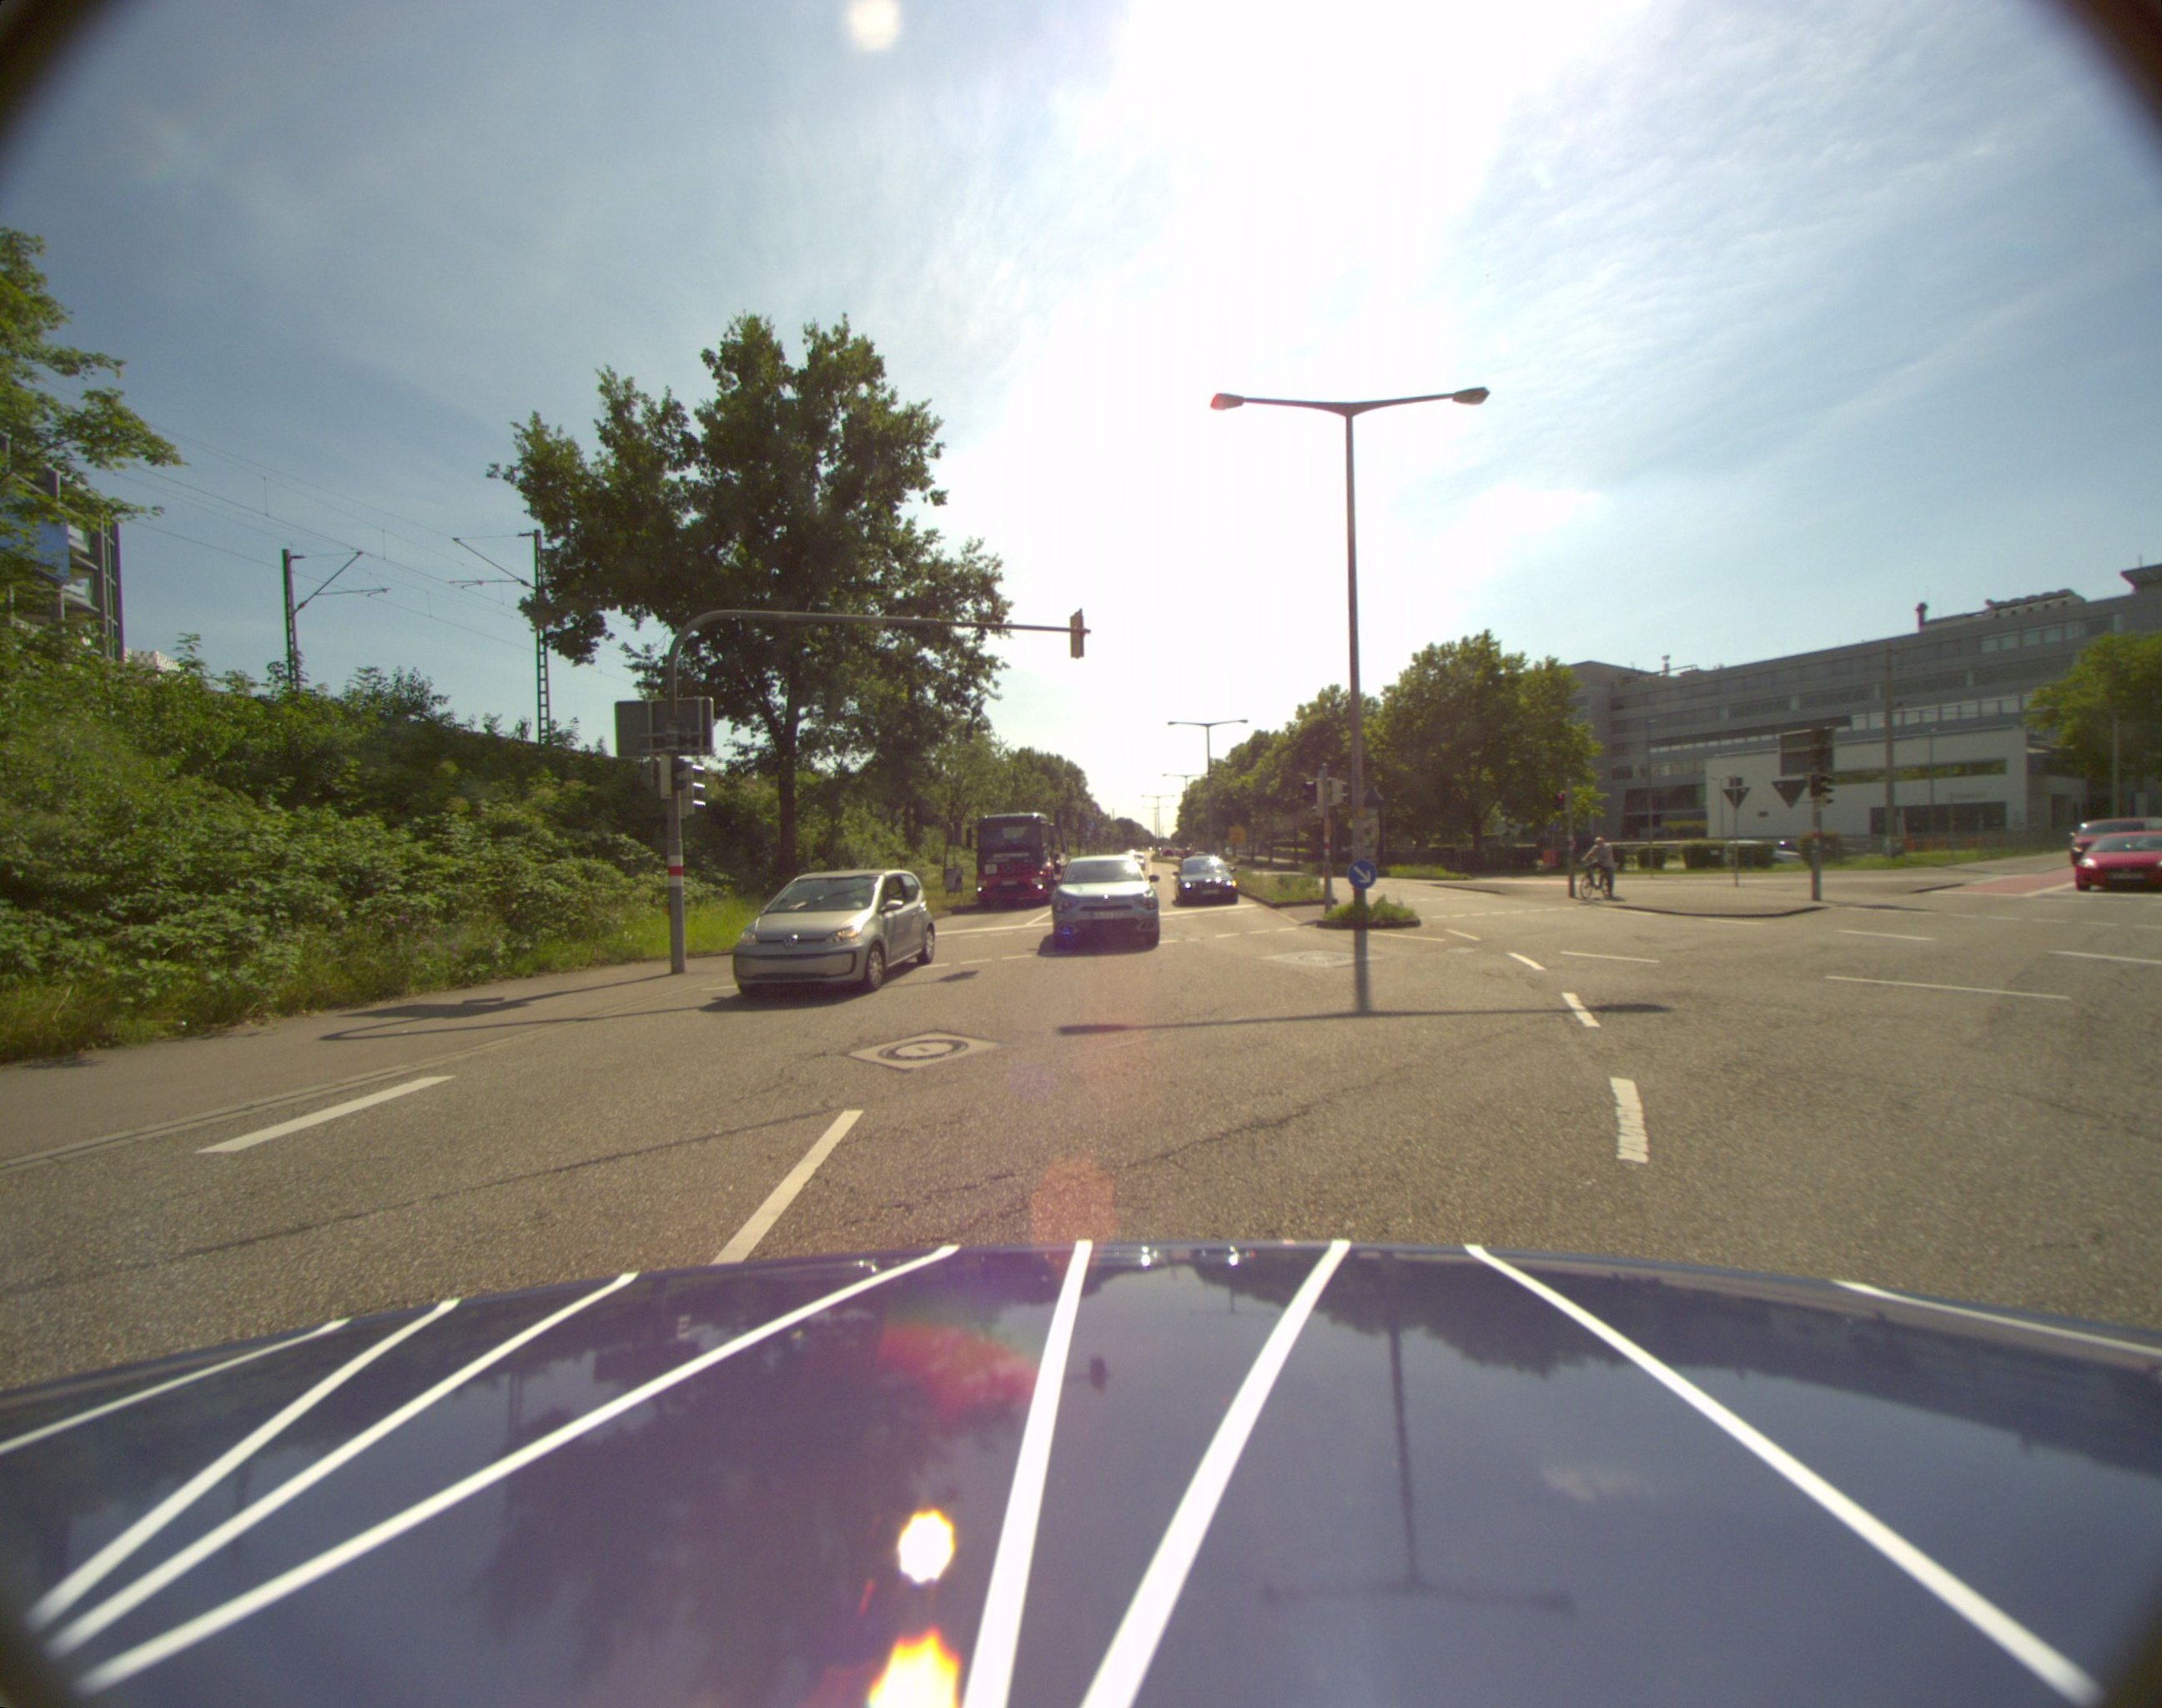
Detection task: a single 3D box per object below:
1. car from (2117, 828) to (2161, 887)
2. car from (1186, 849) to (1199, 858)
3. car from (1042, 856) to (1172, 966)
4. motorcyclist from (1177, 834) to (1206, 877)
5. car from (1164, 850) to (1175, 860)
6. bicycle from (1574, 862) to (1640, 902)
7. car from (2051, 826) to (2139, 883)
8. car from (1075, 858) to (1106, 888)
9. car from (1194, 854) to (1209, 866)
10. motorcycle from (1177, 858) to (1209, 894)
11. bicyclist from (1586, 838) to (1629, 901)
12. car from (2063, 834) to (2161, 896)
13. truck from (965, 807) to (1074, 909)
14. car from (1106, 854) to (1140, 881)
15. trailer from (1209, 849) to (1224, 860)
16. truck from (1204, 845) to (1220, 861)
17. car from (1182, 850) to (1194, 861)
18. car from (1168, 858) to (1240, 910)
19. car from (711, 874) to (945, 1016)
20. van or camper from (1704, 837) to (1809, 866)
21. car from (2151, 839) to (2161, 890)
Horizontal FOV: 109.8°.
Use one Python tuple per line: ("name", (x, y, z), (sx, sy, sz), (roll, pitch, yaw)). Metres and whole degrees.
("car", (32.793, 0.046, 22.731), (4.007, 1.689, 1.995), (-2, 0, -38))
("car", (19.234, -0.071, 131.324), (1.852, 1.426, 3.767), (-2, 0, 3))
("car", (0.616, 0.832, 13.274), (1.825, 1.521, 4.753), (-2, 0, 6))
("motorcyclist", (4.449, 0.056, 30.698), (1.066, 1.689, 1.042), (-2, 0, 4))
("car", (18.557, 0.272, 159.117), (1.998, 2.002, 4.001), (-2, 0, 5))
("bicycle", (15.207, 0.792, 21.965), (2.168, 1.058, 0.524), (-2, 0, -25))
("car", (43.246, -0.012, 32.439), (5.050, 2.265, 2.146), (-2, 0, -37))
("car", (0.725, 1.342, 55.438), (1.998, 2.002, 4.001), (-2, 0, 4))
("car", (16.278, 0.772, 102.806), (1.653, 1.505, 3.737), (-2, 0, 4))
("motorcycle", (4.465, 0.850, 30.427), (1.051, 1.343, 2.332), (-2, 0, 4))
("bicyclist", (15.230, 0.442, 21.987), (0.769, 1.778, 0.704), (-2, 1, -25))
("car", (26.909, 0.229, 19.380), (4.006, 1.441, 1.843), (-2, 0, -31))
("truck", (-2.039, 0.147, 28.465), (2.775, 3.248, 7.485), (-1, 0, 5))
("car", (2.618, 0.813, 46.656), (1.825, 1.521, 4.549), (-2, 0, 6))
("trailer", (20.760, 0.052, 116.902), (2.066, 1.705, 3.993), (-2, 0, 8))
("truck", (21.047, -0.210, 122.448), (2.144, 2.461, 7.132), (-2, 0, 6))
("car", (20.844, 0.305, 148.373), (1.998, 2.002, 4.001), (-2, 0, 5))
("car", (3.719, 0.868, 23.556), (1.730, 1.354, 4.068), (-3, 0, 3))
("car", (-3.104, 1.051, 10.160), (1.704, 1.429, 3.679), (-1, 0, 3))
("van or camper", (41.883, -0.120, 47.228), (2.003, 1.682, 4.501), (-2, 0, -33))
("car", (38.963, 0.325, 26.386), (4.007, 1.689, 1.995), (-2, 0, -37))
